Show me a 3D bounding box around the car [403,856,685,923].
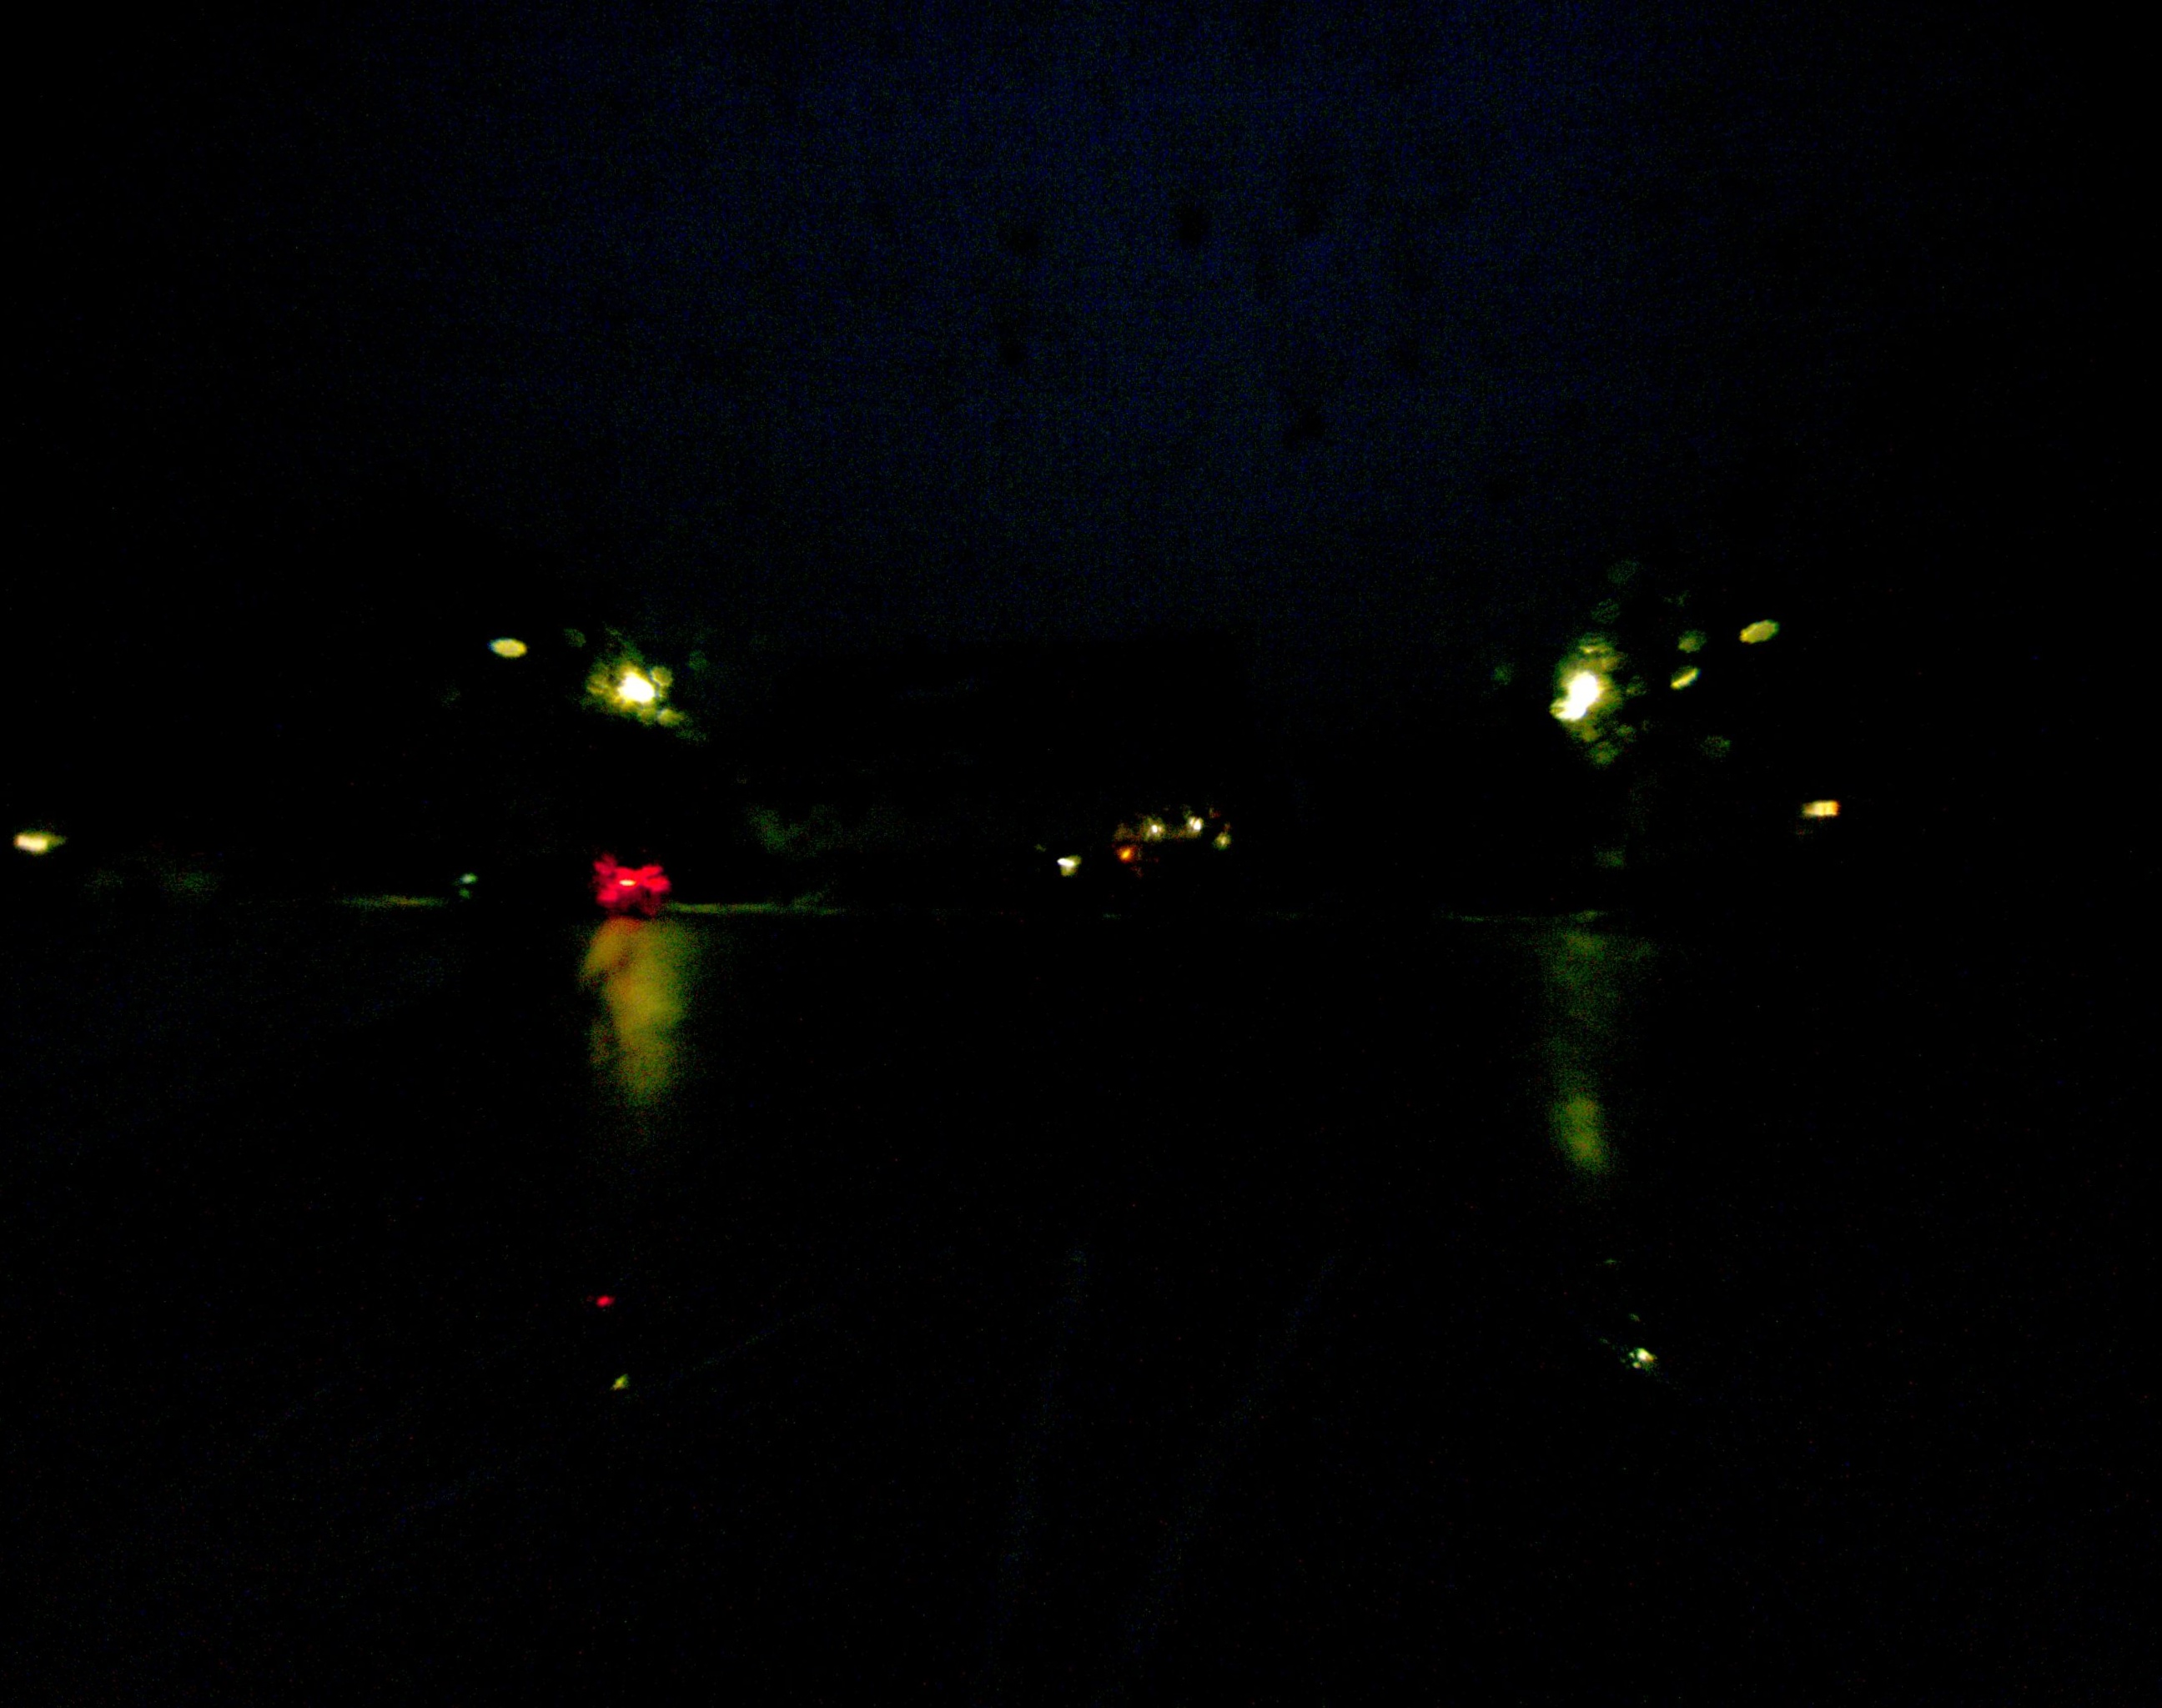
[{"bbox_3d":[-12.110,0.805,17.440,4.932,1.373,2.000,1,-1,-4],"label":"car"}]

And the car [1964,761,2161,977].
[{"bbox_3d":[14.422,-0.011,8.045,2.003,2.536,6.108,-1,-5,-27],"label":"car"}]
